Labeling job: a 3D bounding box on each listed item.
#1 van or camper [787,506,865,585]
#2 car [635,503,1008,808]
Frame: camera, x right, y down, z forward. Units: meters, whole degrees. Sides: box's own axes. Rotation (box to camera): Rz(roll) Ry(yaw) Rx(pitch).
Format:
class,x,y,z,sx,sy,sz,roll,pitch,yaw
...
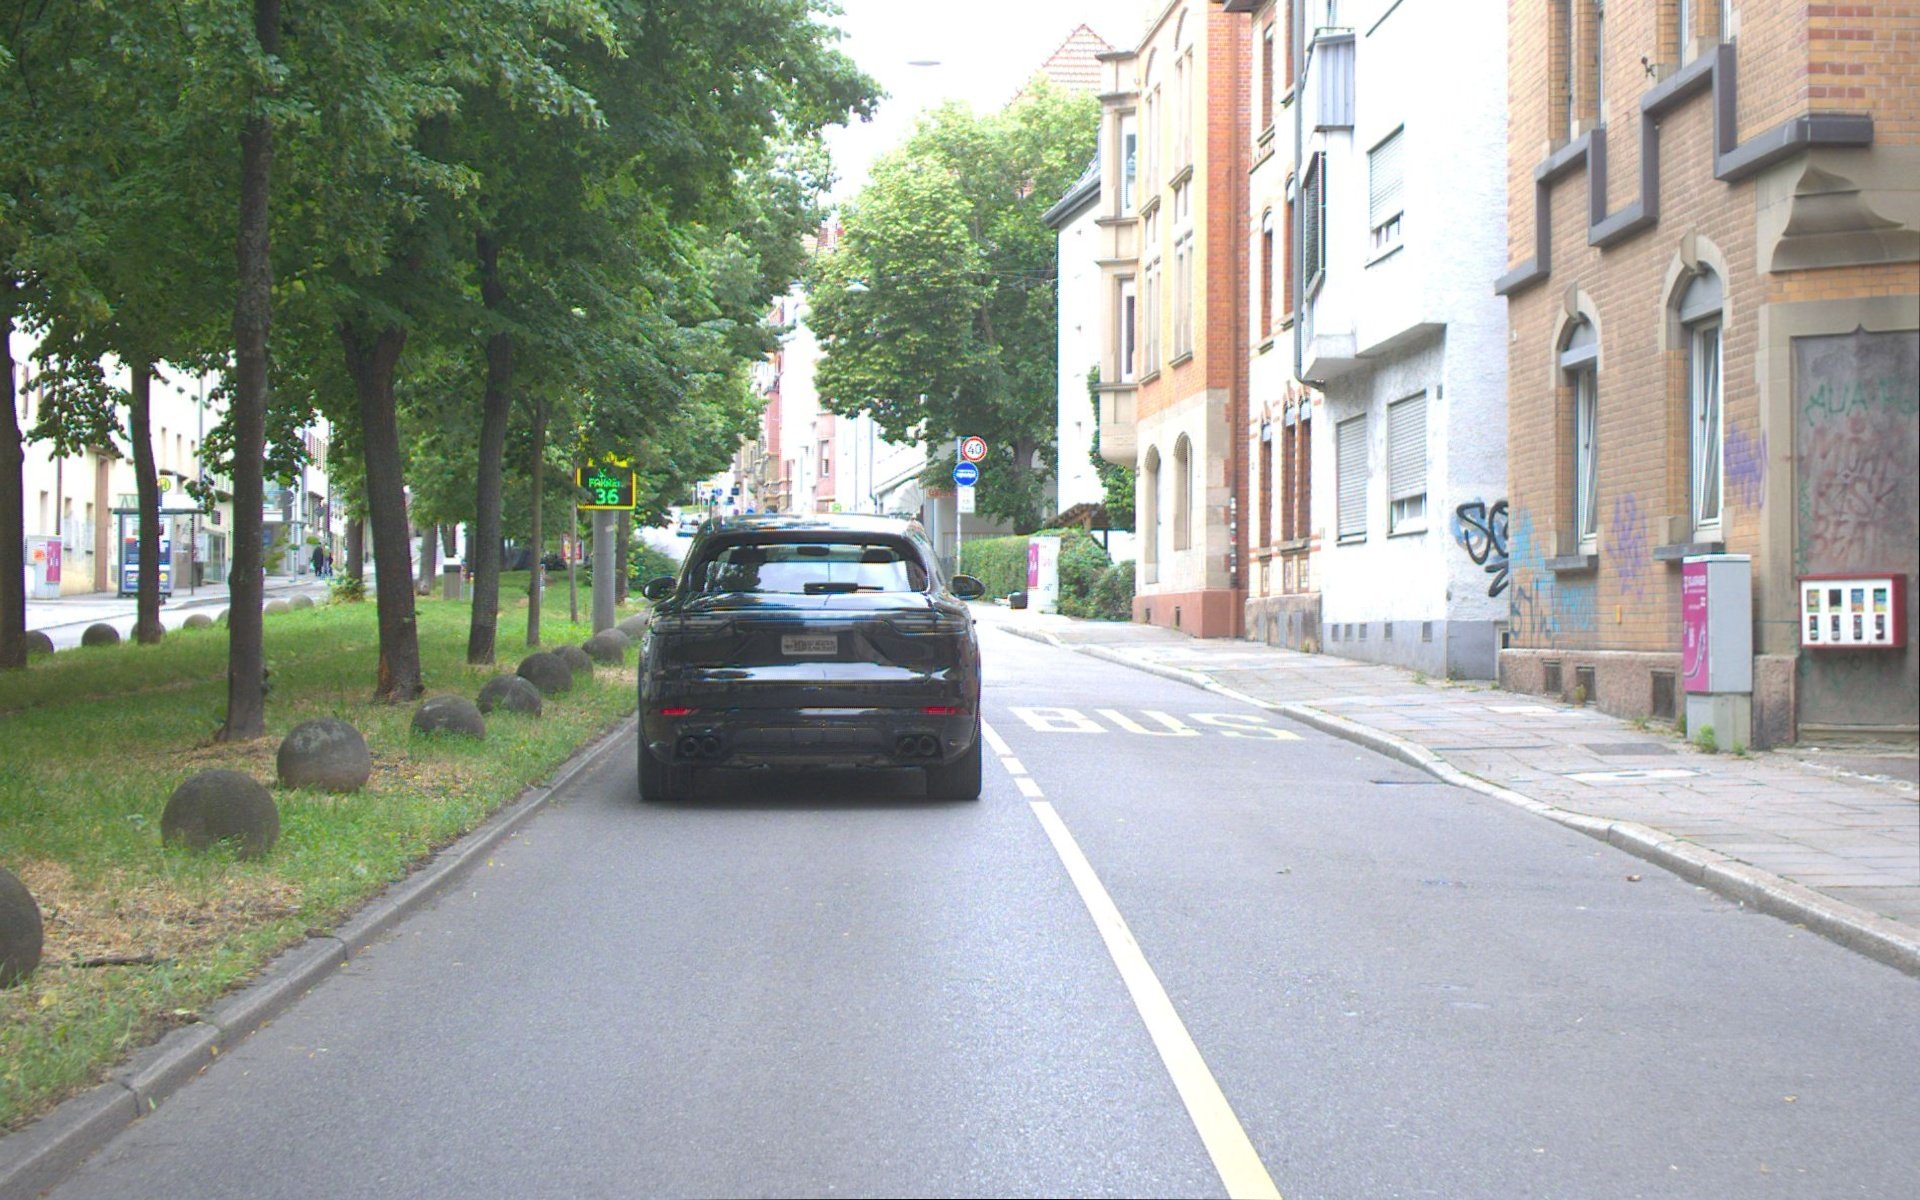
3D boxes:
class,x,y,z,sx,sy,sz,roll,pitch,yaw
van or camper,-4.980,-1.991,126.575,2.479,2.793,7.239,1,0,-5
car,-0.946,0.292,20.917,1.903,1.660,4.136,1,0,-7
